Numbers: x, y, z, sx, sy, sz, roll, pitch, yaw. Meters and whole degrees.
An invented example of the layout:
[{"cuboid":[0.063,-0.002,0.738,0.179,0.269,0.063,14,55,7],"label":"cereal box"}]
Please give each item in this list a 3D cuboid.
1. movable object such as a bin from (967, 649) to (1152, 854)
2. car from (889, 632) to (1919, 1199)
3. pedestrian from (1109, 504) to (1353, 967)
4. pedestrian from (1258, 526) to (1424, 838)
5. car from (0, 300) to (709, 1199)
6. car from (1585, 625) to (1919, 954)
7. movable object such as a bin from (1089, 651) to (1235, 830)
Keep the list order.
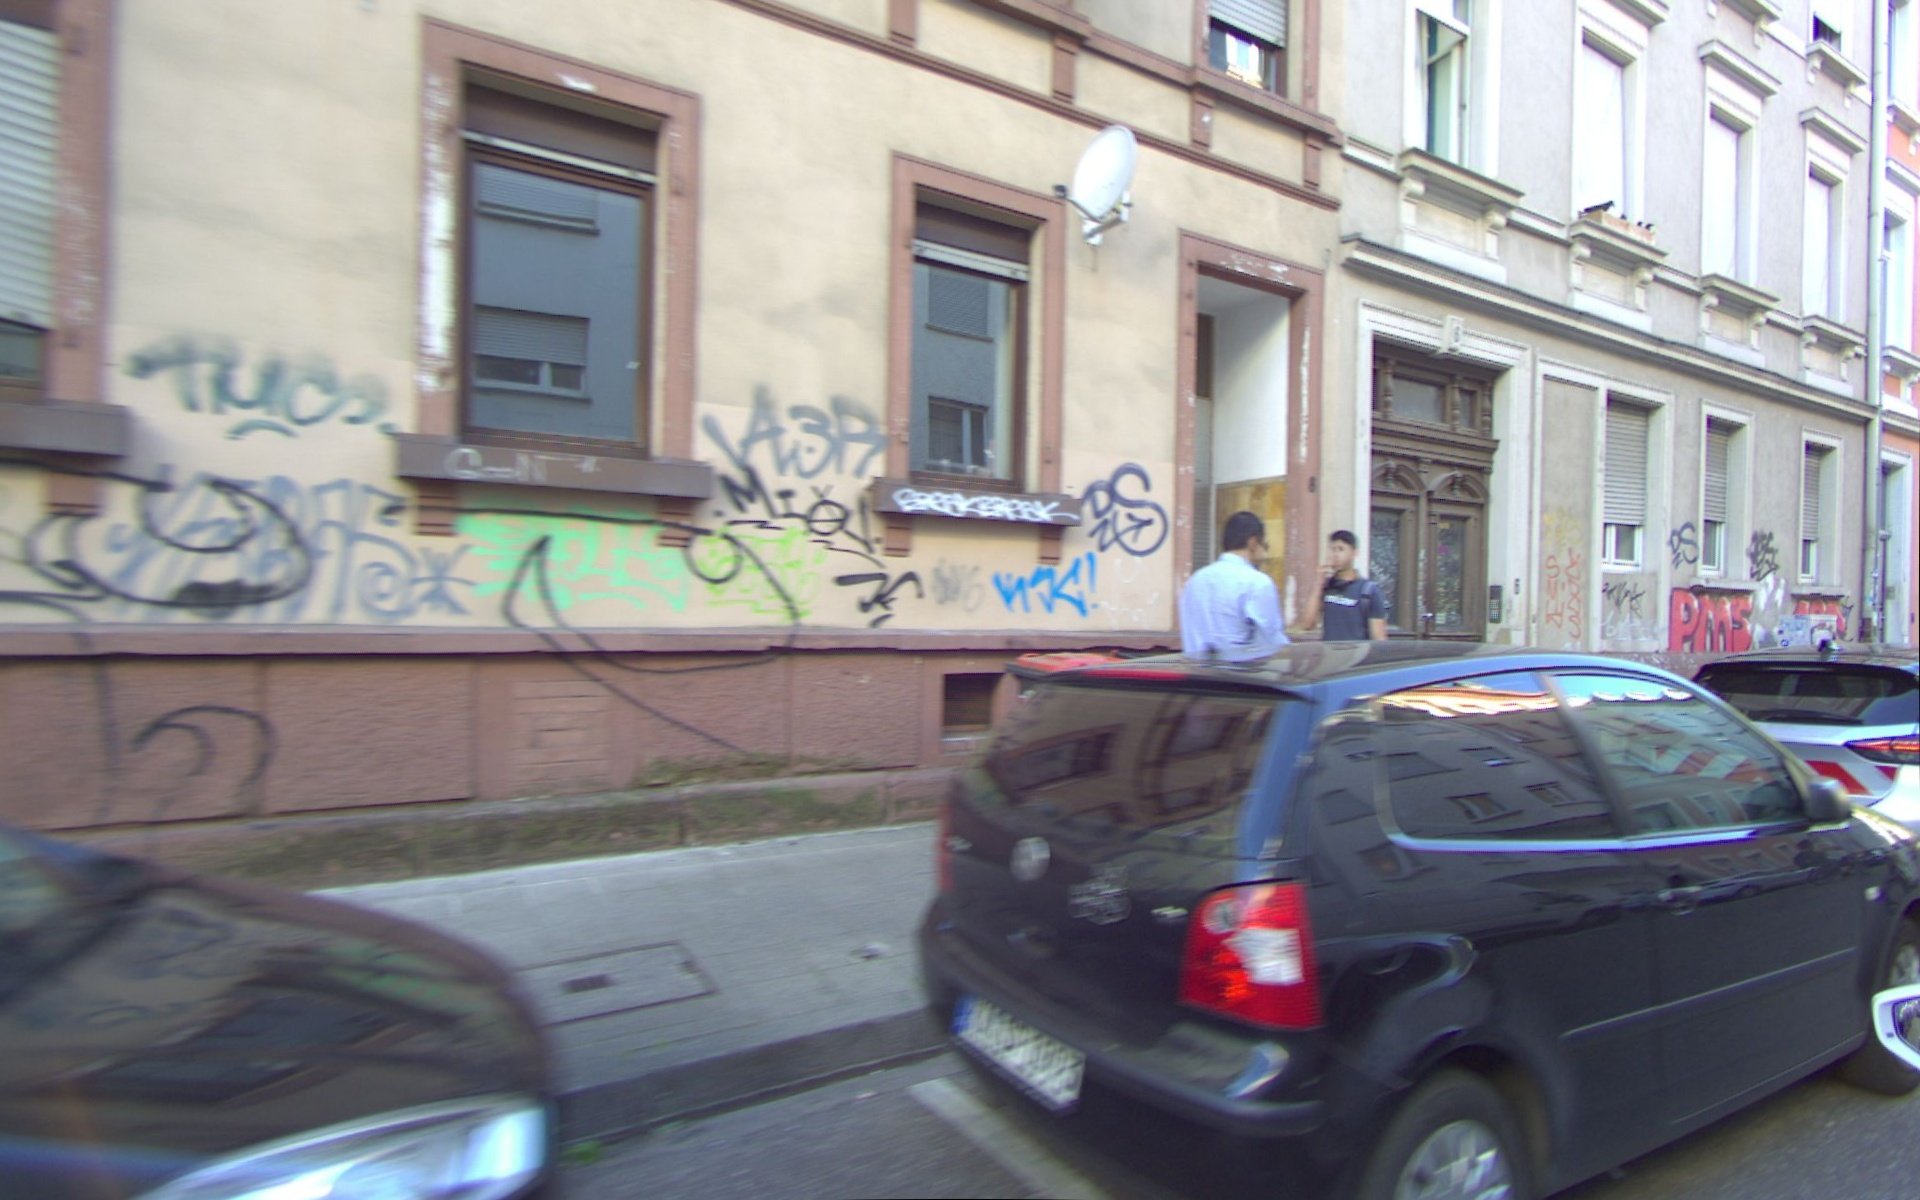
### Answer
[{"cuboid":[0.579,0.857,6.023,0.747,1.039,0.786,1,4,-29],"label":"movable object such as a bin"},{"cuboid":[1.729,0.853,3.348,3.610,1.459,1.584,1,-1,-30],"label":"car"},{"cuboid":[1.185,0.537,4.450,0.745,1.842,0.648,1,2,-30],"label":"pedestrian"},{"cuboid":[2.455,0.493,6.493,0.745,1.883,0.607,1,2,-31],"label":"pedestrian"},{"cuboid":[-2.453,0.594,0.979,3.955,1.720,1.792,1,-3,-31],"label":"car"},{"cuboid":[5.662,0.892,5.969,3.840,1.449,1.667,1,-1,-29],"label":"car"},{"cuboid":[1.301,0.876,6.541,0.584,1.039,0.727,1,0,-30],"label":"movable object such as a bin"}]
